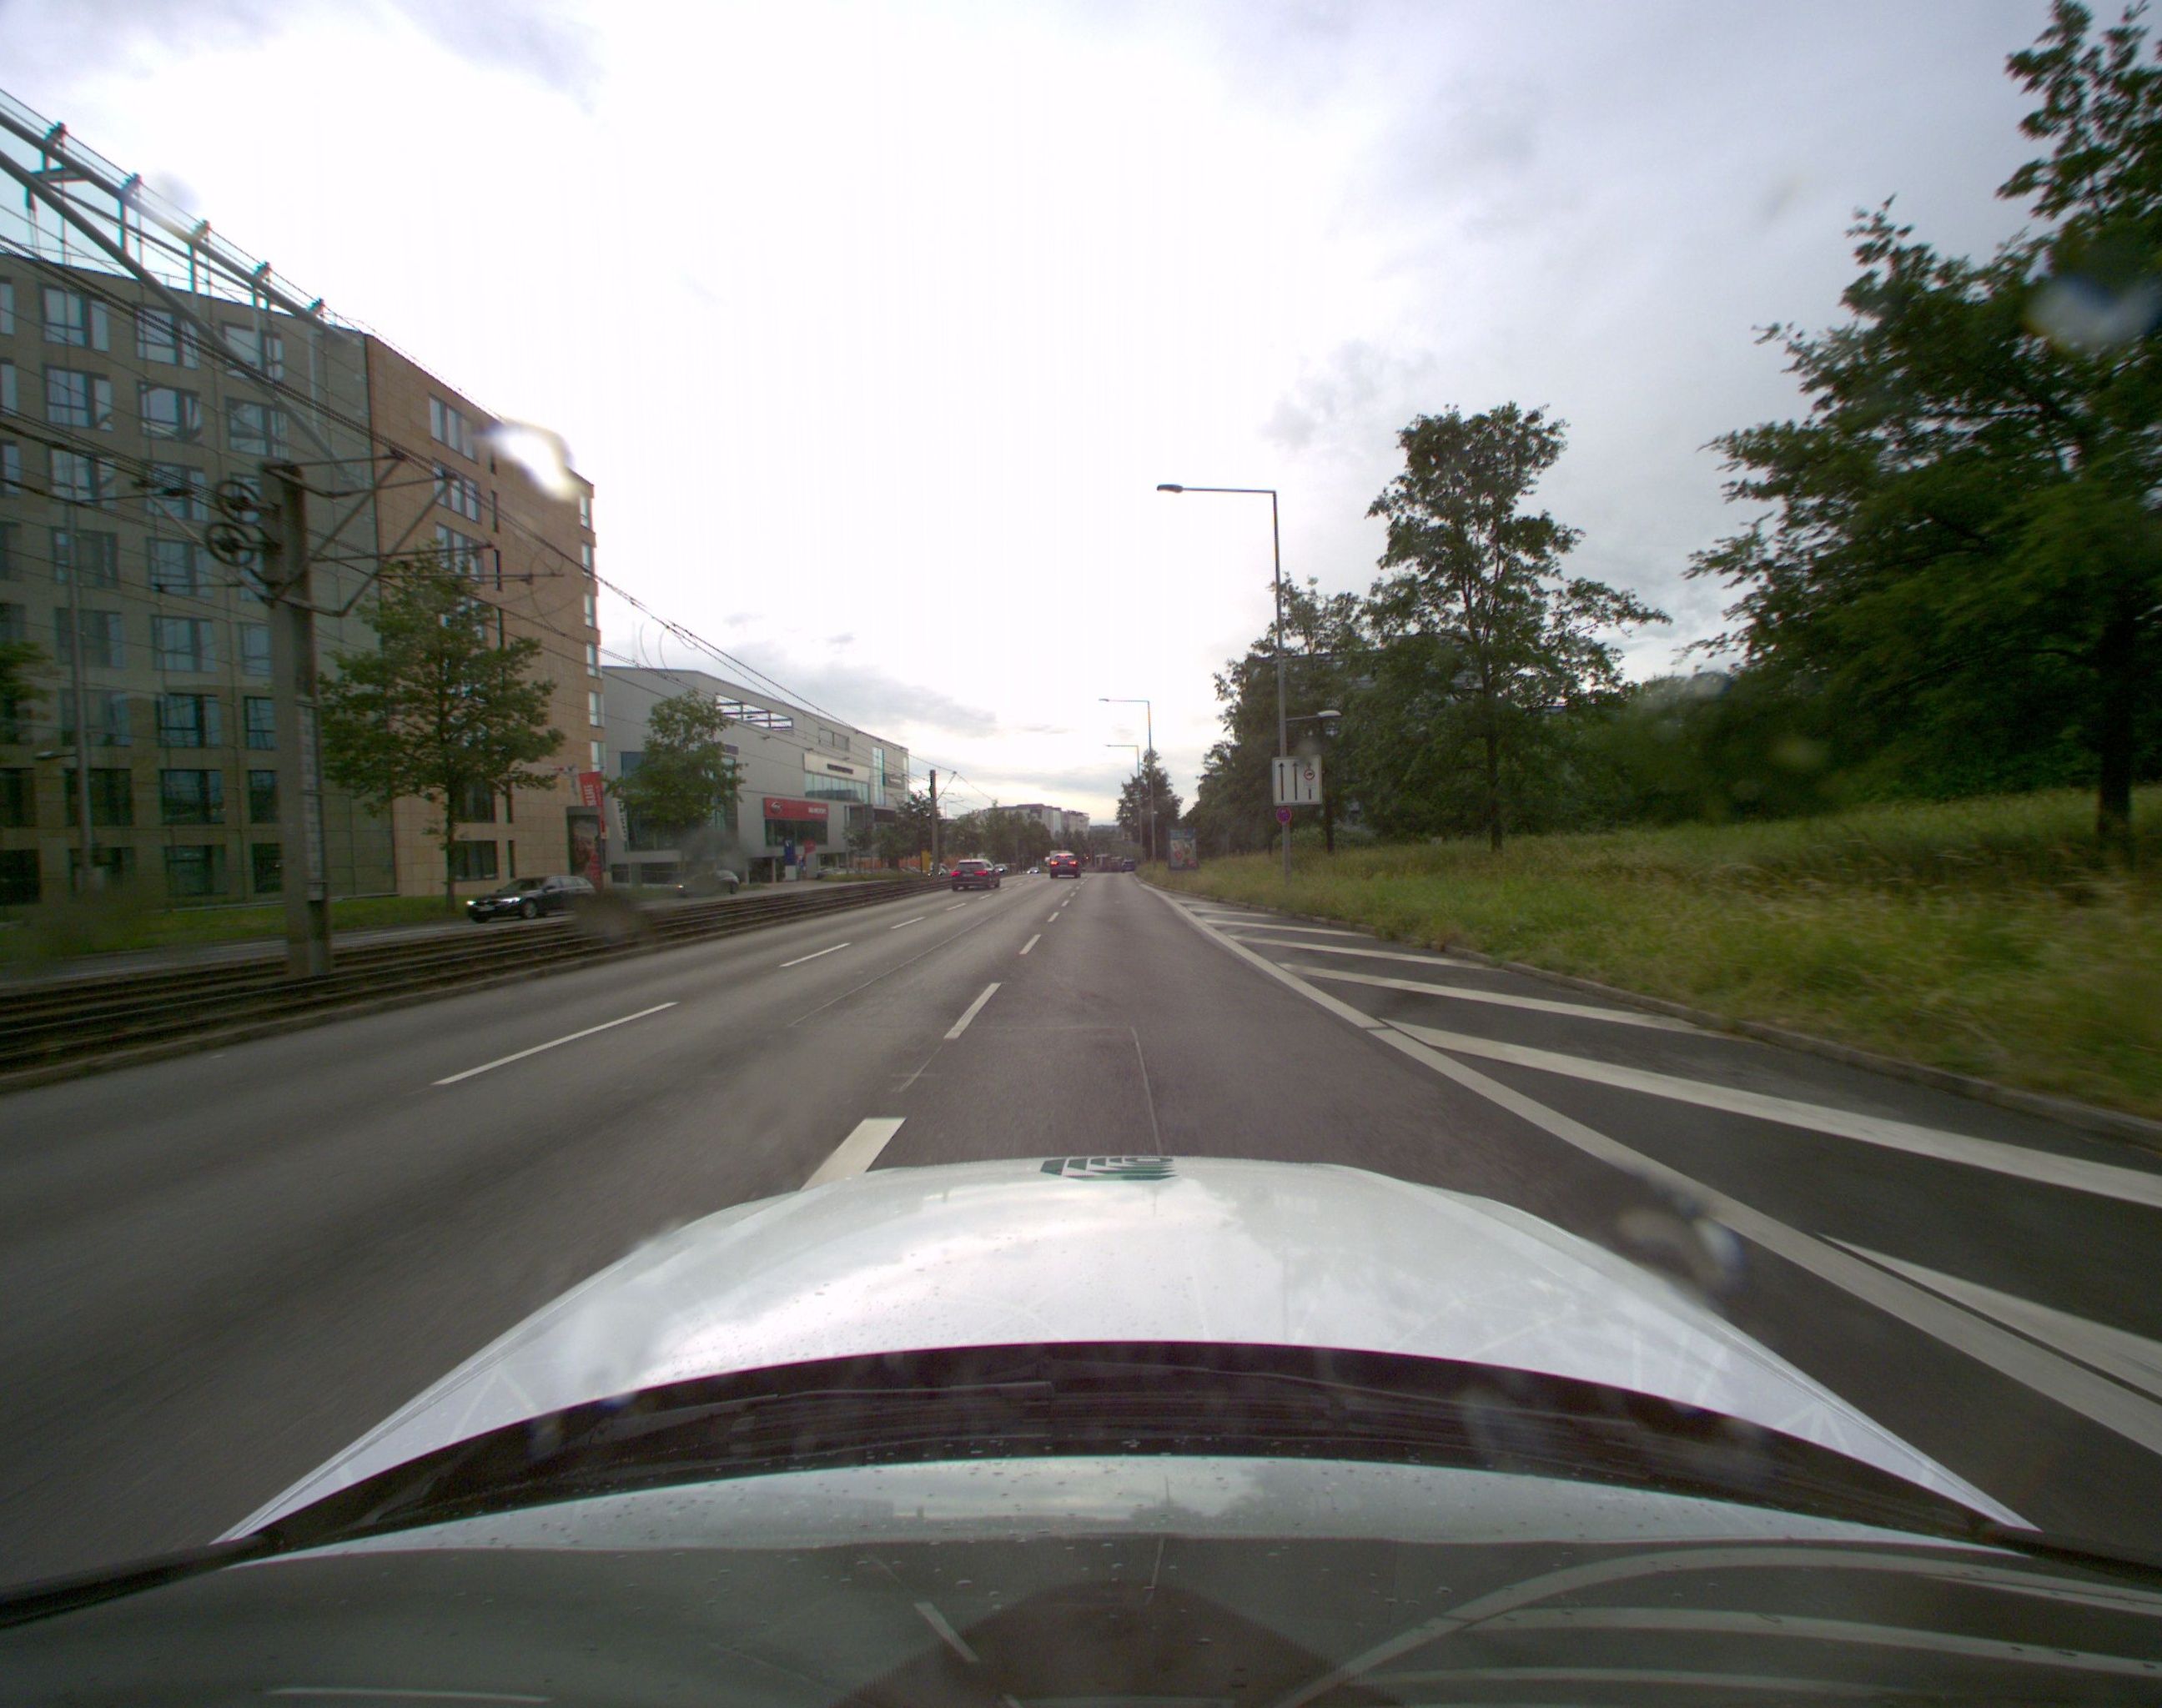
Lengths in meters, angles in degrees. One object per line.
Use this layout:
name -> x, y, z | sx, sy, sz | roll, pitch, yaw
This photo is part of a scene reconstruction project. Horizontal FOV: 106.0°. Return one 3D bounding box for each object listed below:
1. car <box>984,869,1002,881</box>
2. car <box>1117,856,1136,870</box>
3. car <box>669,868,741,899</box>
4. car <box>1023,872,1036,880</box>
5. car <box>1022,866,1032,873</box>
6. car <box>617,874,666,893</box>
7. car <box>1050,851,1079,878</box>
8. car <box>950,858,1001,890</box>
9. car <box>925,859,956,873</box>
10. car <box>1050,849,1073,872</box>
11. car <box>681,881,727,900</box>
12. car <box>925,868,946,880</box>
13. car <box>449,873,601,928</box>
car -> -12.260, 2.942, 113.467 | 1.650, 1.549, 4.005 | -1, -2, 5
car -> 5.279, 1.065, 95.168 | 1.784, 1.591, 3.997 | -3, -1, -2
car -> -21.419, 1.643, 46.622 | 1.834, 1.486, 4.432 | -5, 0, 2
car -> -9.060, 3.885, 144.399 | 1.660, 1.462, 4.243 | -1, -2, 5
car -> -12.782, 3.695, 193.227 | 1.660, 1.462, 4.243 | -1, -2, 5
car -> -42.469, 2.829, 78.857 | 1.987, 1.792, 4.940 | -1, -1, 1
car -> -1.133, 0.684, 55.262 | 1.917, 1.710, 4.095 | 0, 0, -2
car -> -4.958, 0.916, 38.798 | 1.780, 1.414, 4.805 | -1, 0, 0
car -> -25.117, 2.157, 145.123 | 5.310, 2.313, 2.010 | 0, -2, -14
car -> -1.989, 0.672, 83.732 | 2.261, 2.285, 4.756 | 0, 0, -2
car -> -36.535, 3.531, 79.007 | 1.985, 1.725, 4.943 | -1, -1, 3
car -> -18.281, 2.558, 102.669 | 1.660, 1.462, 4.242 | -1, -2, 4
car -> -19.028, 1.522, 28.175 | 1.834, 1.486, 4.655 | -5, 0, 2
